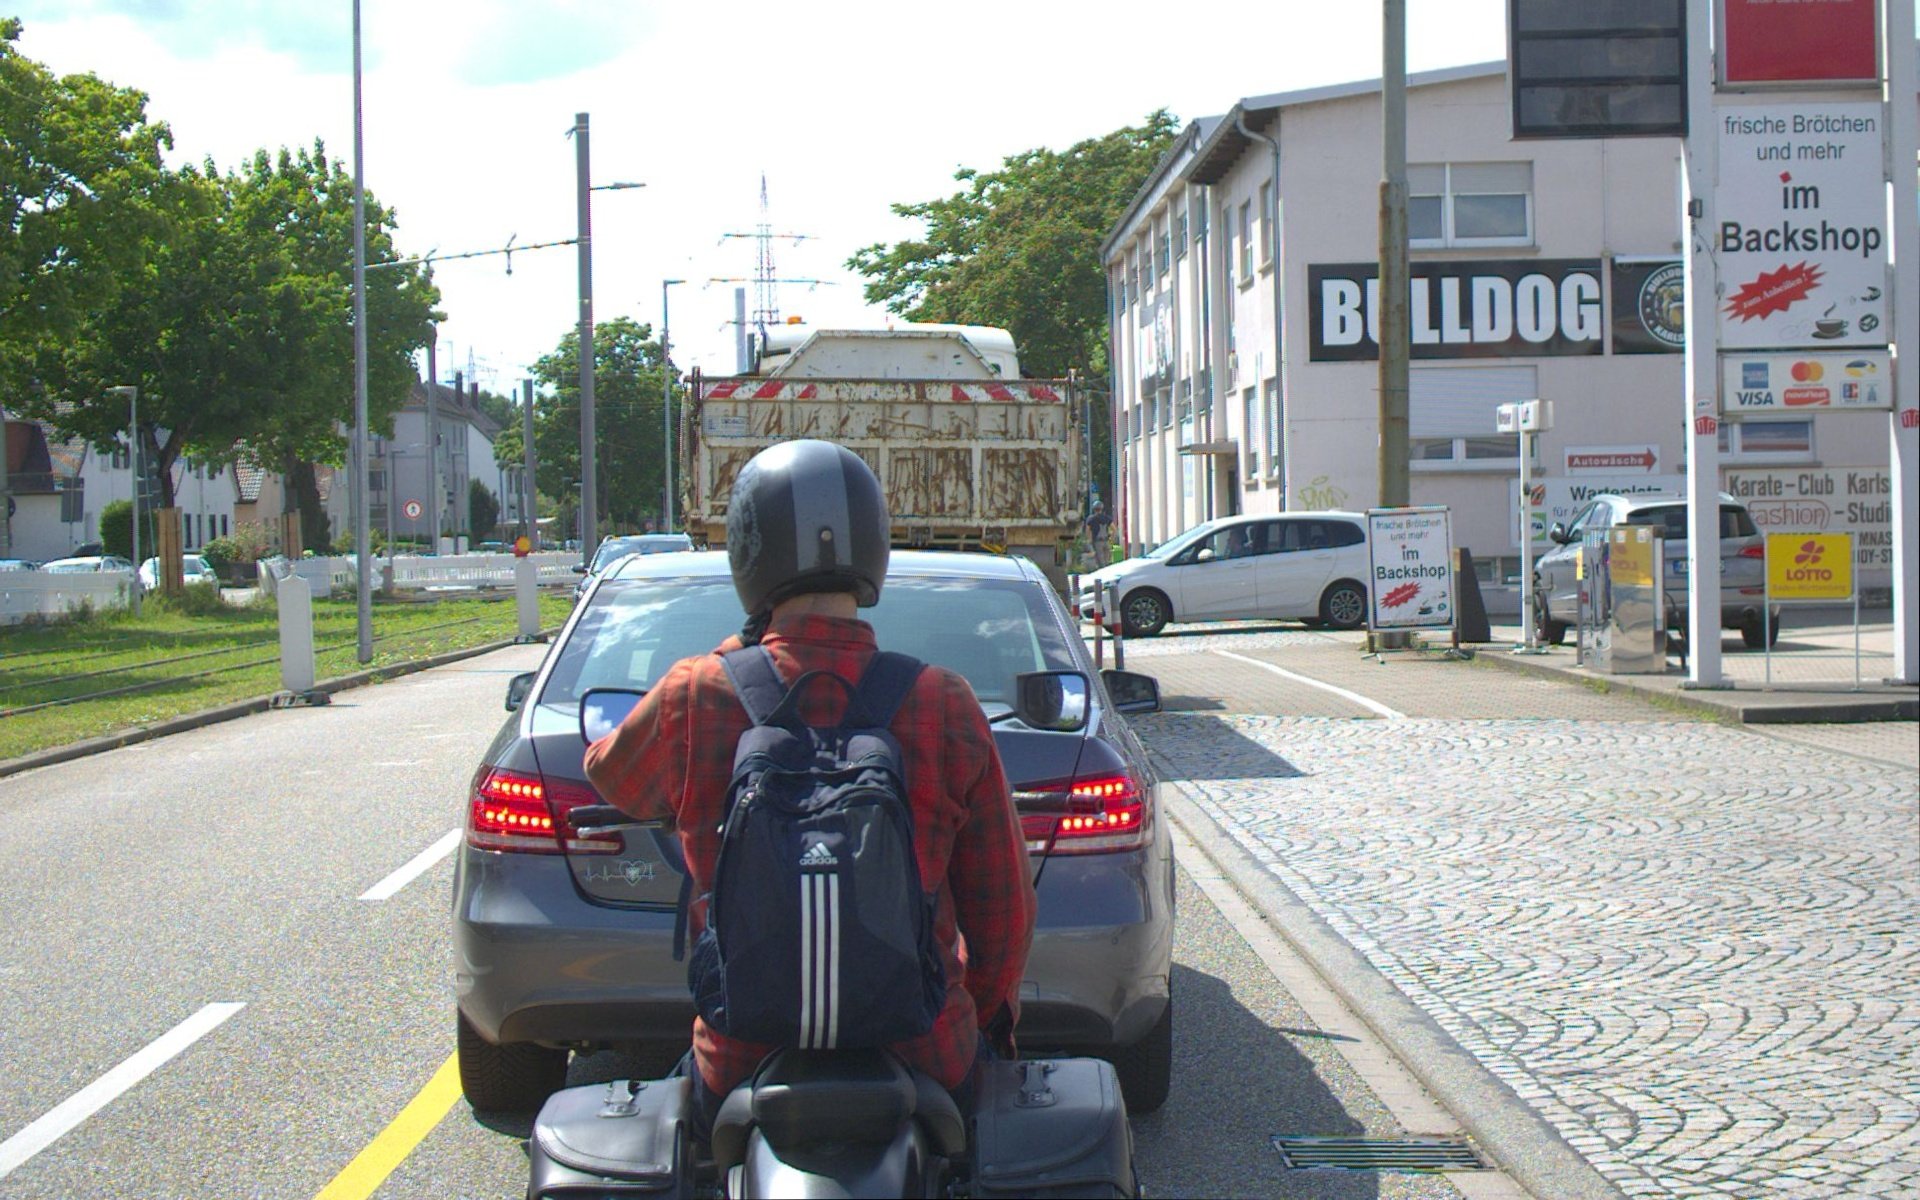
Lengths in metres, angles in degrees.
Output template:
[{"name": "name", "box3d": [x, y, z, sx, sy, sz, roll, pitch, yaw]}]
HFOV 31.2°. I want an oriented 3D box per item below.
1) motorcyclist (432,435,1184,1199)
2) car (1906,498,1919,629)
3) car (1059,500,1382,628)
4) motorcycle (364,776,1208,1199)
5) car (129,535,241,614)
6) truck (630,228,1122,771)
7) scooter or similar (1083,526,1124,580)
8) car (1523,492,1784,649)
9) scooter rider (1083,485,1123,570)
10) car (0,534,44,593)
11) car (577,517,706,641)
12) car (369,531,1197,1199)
[{"name": "motorcyclist", "box3d": [-0.209, 0.590, 5.089, 0.969, 1.627, 1.215, 1, 1, -1]}, {"name": "car", "box3d": [11.784, -0.401, 37.247, 1.832, 1.474, 4.010, -1, 1, -2]}, {"name": "car", "box3d": [3.545, -0.502, 47.035, 4.104, 1.619, 1.686, -1, 1, -8]}, {"name": "motorcycle", "box3d": [-0.219, 0.865, 5.212, 0.976, 1.010, 2.432, 1, 1, -1]}, {"name": "car", "box3d": [-17.948, -0.621, 79.755, 1.698, 1.733, 3.860, -1, 1, 0]}, {"name": "truck", "box3d": [-0.638, -0.714, 25.472, 2.970, 3.293, 8.408, -1, 1, -2]}, {"name": "scooter or similar", "box3d": [3.105, -1.032, 74.522, 0.795, 1.141, 1.519, -1, 1, -1]}, {"name": "car", "box3d": [7.320, -0.341, 36.649, 1.832, 1.530, 4.010, -1, 1, -2]}, {"name": "scooter rider", "box3d": [3.093, -1.575, 74.449, 0.795, 1.812, 0.508, -1, 1, -1]}, {"name": "car", "box3d": [-29.273, -1.114, 104.591, 1.698, 1.733, 4.062, -1, 1, 0]}, {"name": "car", "box3d": [-4.475, -0.327, 48.042, 1.680, 1.619, 4.120, -1, 1, -6]}, {"name": "car", "box3d": [-0.453, 0.569, 9.768, 1.832, 1.474, 4.010, -1, 1, -2]}]
